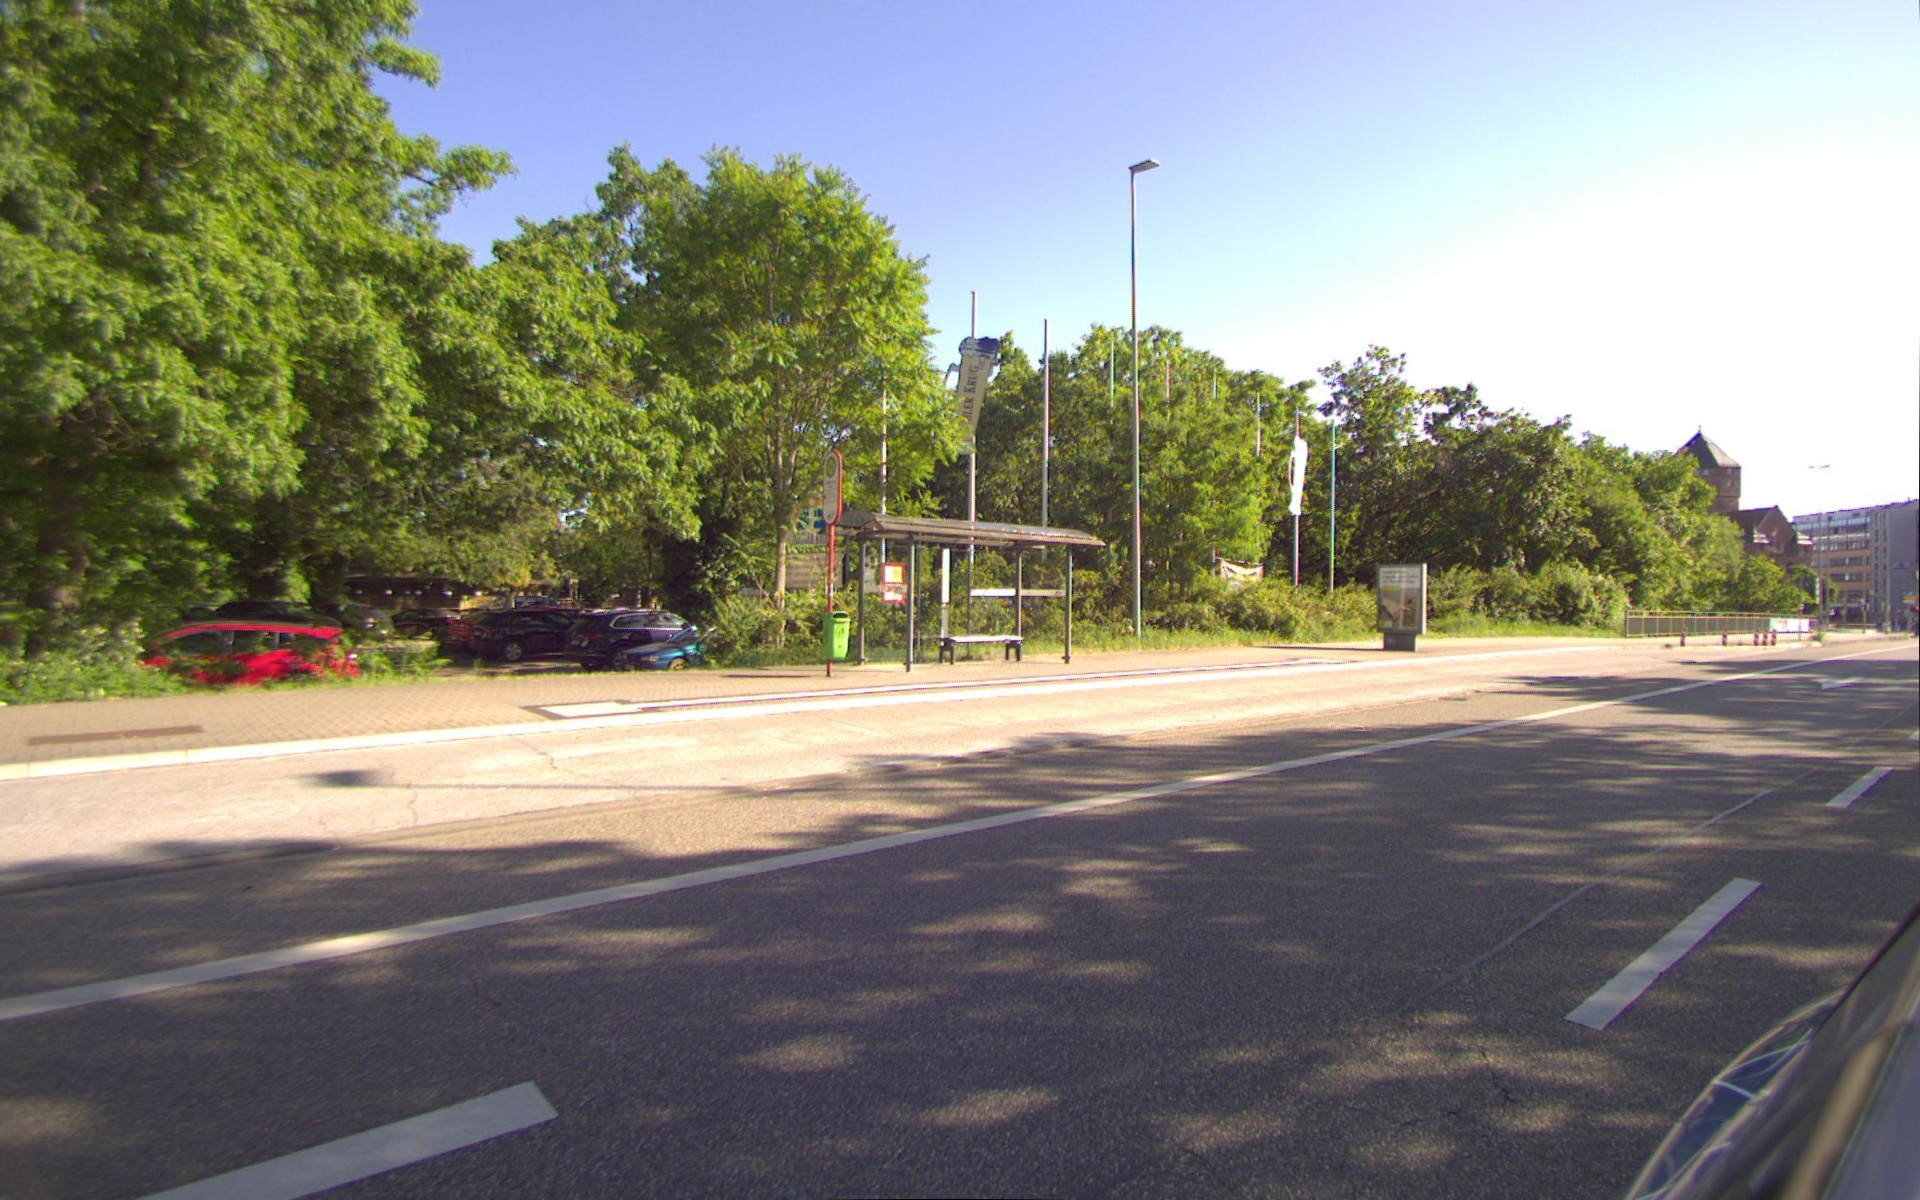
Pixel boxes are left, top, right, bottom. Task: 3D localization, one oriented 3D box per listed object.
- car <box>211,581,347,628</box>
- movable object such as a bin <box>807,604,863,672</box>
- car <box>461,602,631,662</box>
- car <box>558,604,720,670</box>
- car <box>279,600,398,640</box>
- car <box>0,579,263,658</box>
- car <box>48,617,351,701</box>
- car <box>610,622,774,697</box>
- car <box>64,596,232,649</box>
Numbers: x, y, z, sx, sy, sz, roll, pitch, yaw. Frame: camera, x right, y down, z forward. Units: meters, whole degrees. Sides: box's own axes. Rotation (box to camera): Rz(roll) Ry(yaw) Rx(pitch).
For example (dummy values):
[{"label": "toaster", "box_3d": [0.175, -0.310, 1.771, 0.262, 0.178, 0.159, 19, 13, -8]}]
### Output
[{"label": "car", "box_3d": [-25.575, 0.156, 38.075, 3.936, 1.622, 1.994, 2, 0, 10]}, {"label": "movable object such as a bin", "box_3d": [-1.989, 0.596, 16.105, 0.568, 1.043, 0.727, 1, 0, -42]}, {"label": "car", "box_3d": [-13.181, 1.064, 32.398, 4.690, 1.772, 1.755, 3, -3, -39]}, {"label": "car", "box_3d": [-8.749, 0.951, 27.764, 3.929, 1.685, 1.608, 0, -1, -40]}, {"label": "car", "box_3d": [-25.124, 0.782, 40.970, 3.936, 1.467, 1.780, 2, 0, 10]}, {"label": "car", "box_3d": [-18.440, 0.465, 22.370, 4.800, 1.558, 1.997, 3, -3, -39]}, {"label": "car", "box_3d": [-12.328, 0.885, 16.556, 3.846, 1.169, 1.398, 0, 0, -43]}, {"label": "car", "box_3d": [-6.625, 1.415, 25.156, 3.549, 1.658, 1.765, 0, 0, -40]}, {"label": "car", "box_3d": [-26.174, 0.689, 32.808, 3.918, 1.575, 2.003, -1, 0, -27]}]
